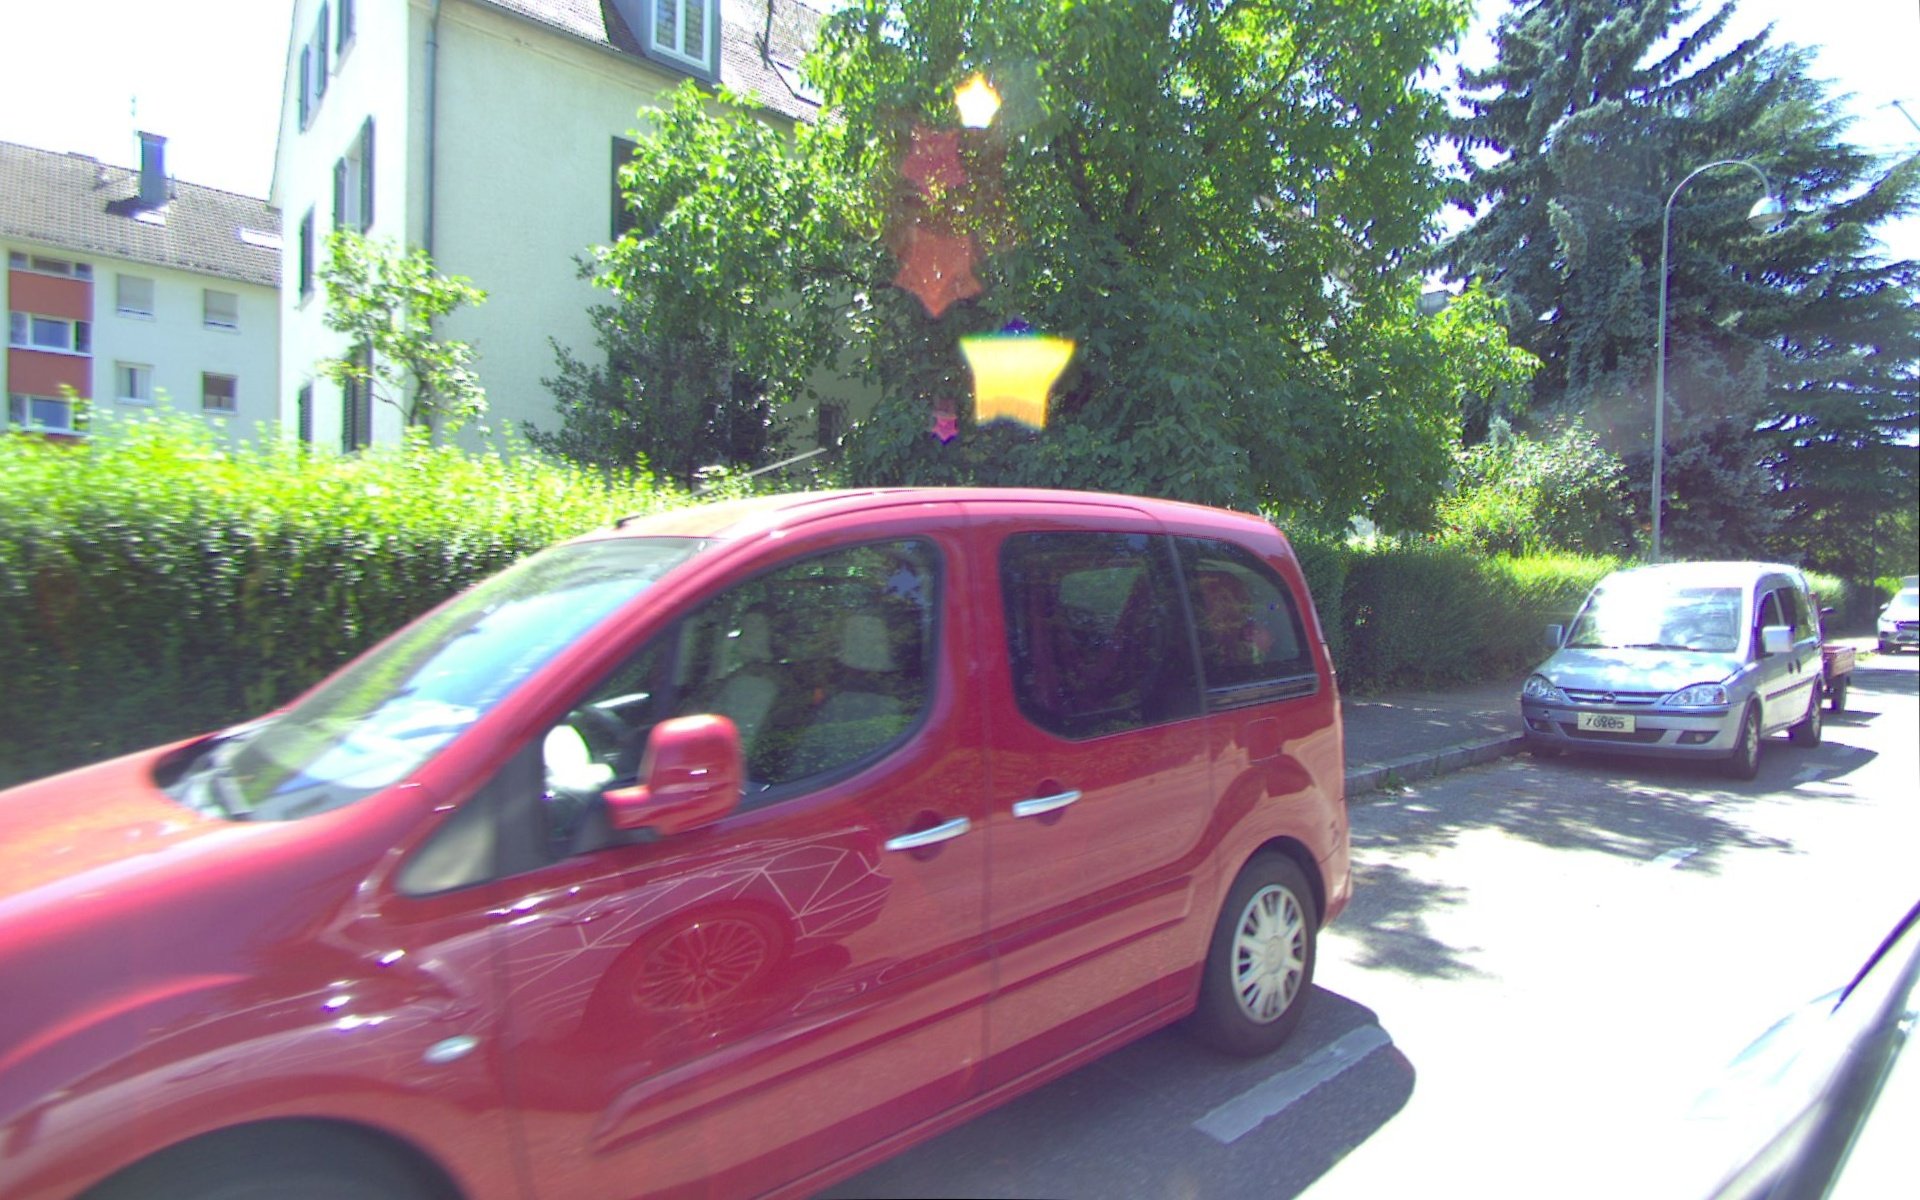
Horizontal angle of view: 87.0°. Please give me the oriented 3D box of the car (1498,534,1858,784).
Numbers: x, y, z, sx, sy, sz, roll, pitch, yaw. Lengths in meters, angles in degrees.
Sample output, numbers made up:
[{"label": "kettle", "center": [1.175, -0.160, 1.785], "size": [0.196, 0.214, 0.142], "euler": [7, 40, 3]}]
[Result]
[{"label": "car", "center": [6.855, 0.410, 9.461], "size": [4.464, 1.805, 1.749], "euler": [-1, 0, -41]}]

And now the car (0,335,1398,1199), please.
[{"label": "car", "center": [-0.675, 0.540, 2.928], "size": [4.315, 1.750, 1.906], "euler": [-1, 0, -41]}]

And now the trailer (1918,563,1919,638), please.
[{"label": "trailer", "center": [28.669, -0.007, 28.905], "size": [3.646, 2.094, 1.681], "euler": [0, -1, -43]}]

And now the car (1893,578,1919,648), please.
[{"label": "car", "center": [24.625, 0.310, 25.165], "size": [4.527, 1.652, 1.773], "euler": [0, 0, -43]}]

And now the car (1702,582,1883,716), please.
[{"label": "car", "center": [10.517, 0.542, 12.751], "size": [2.660, 1.514, 1.263], "euler": [-1, 0, -39]}]
